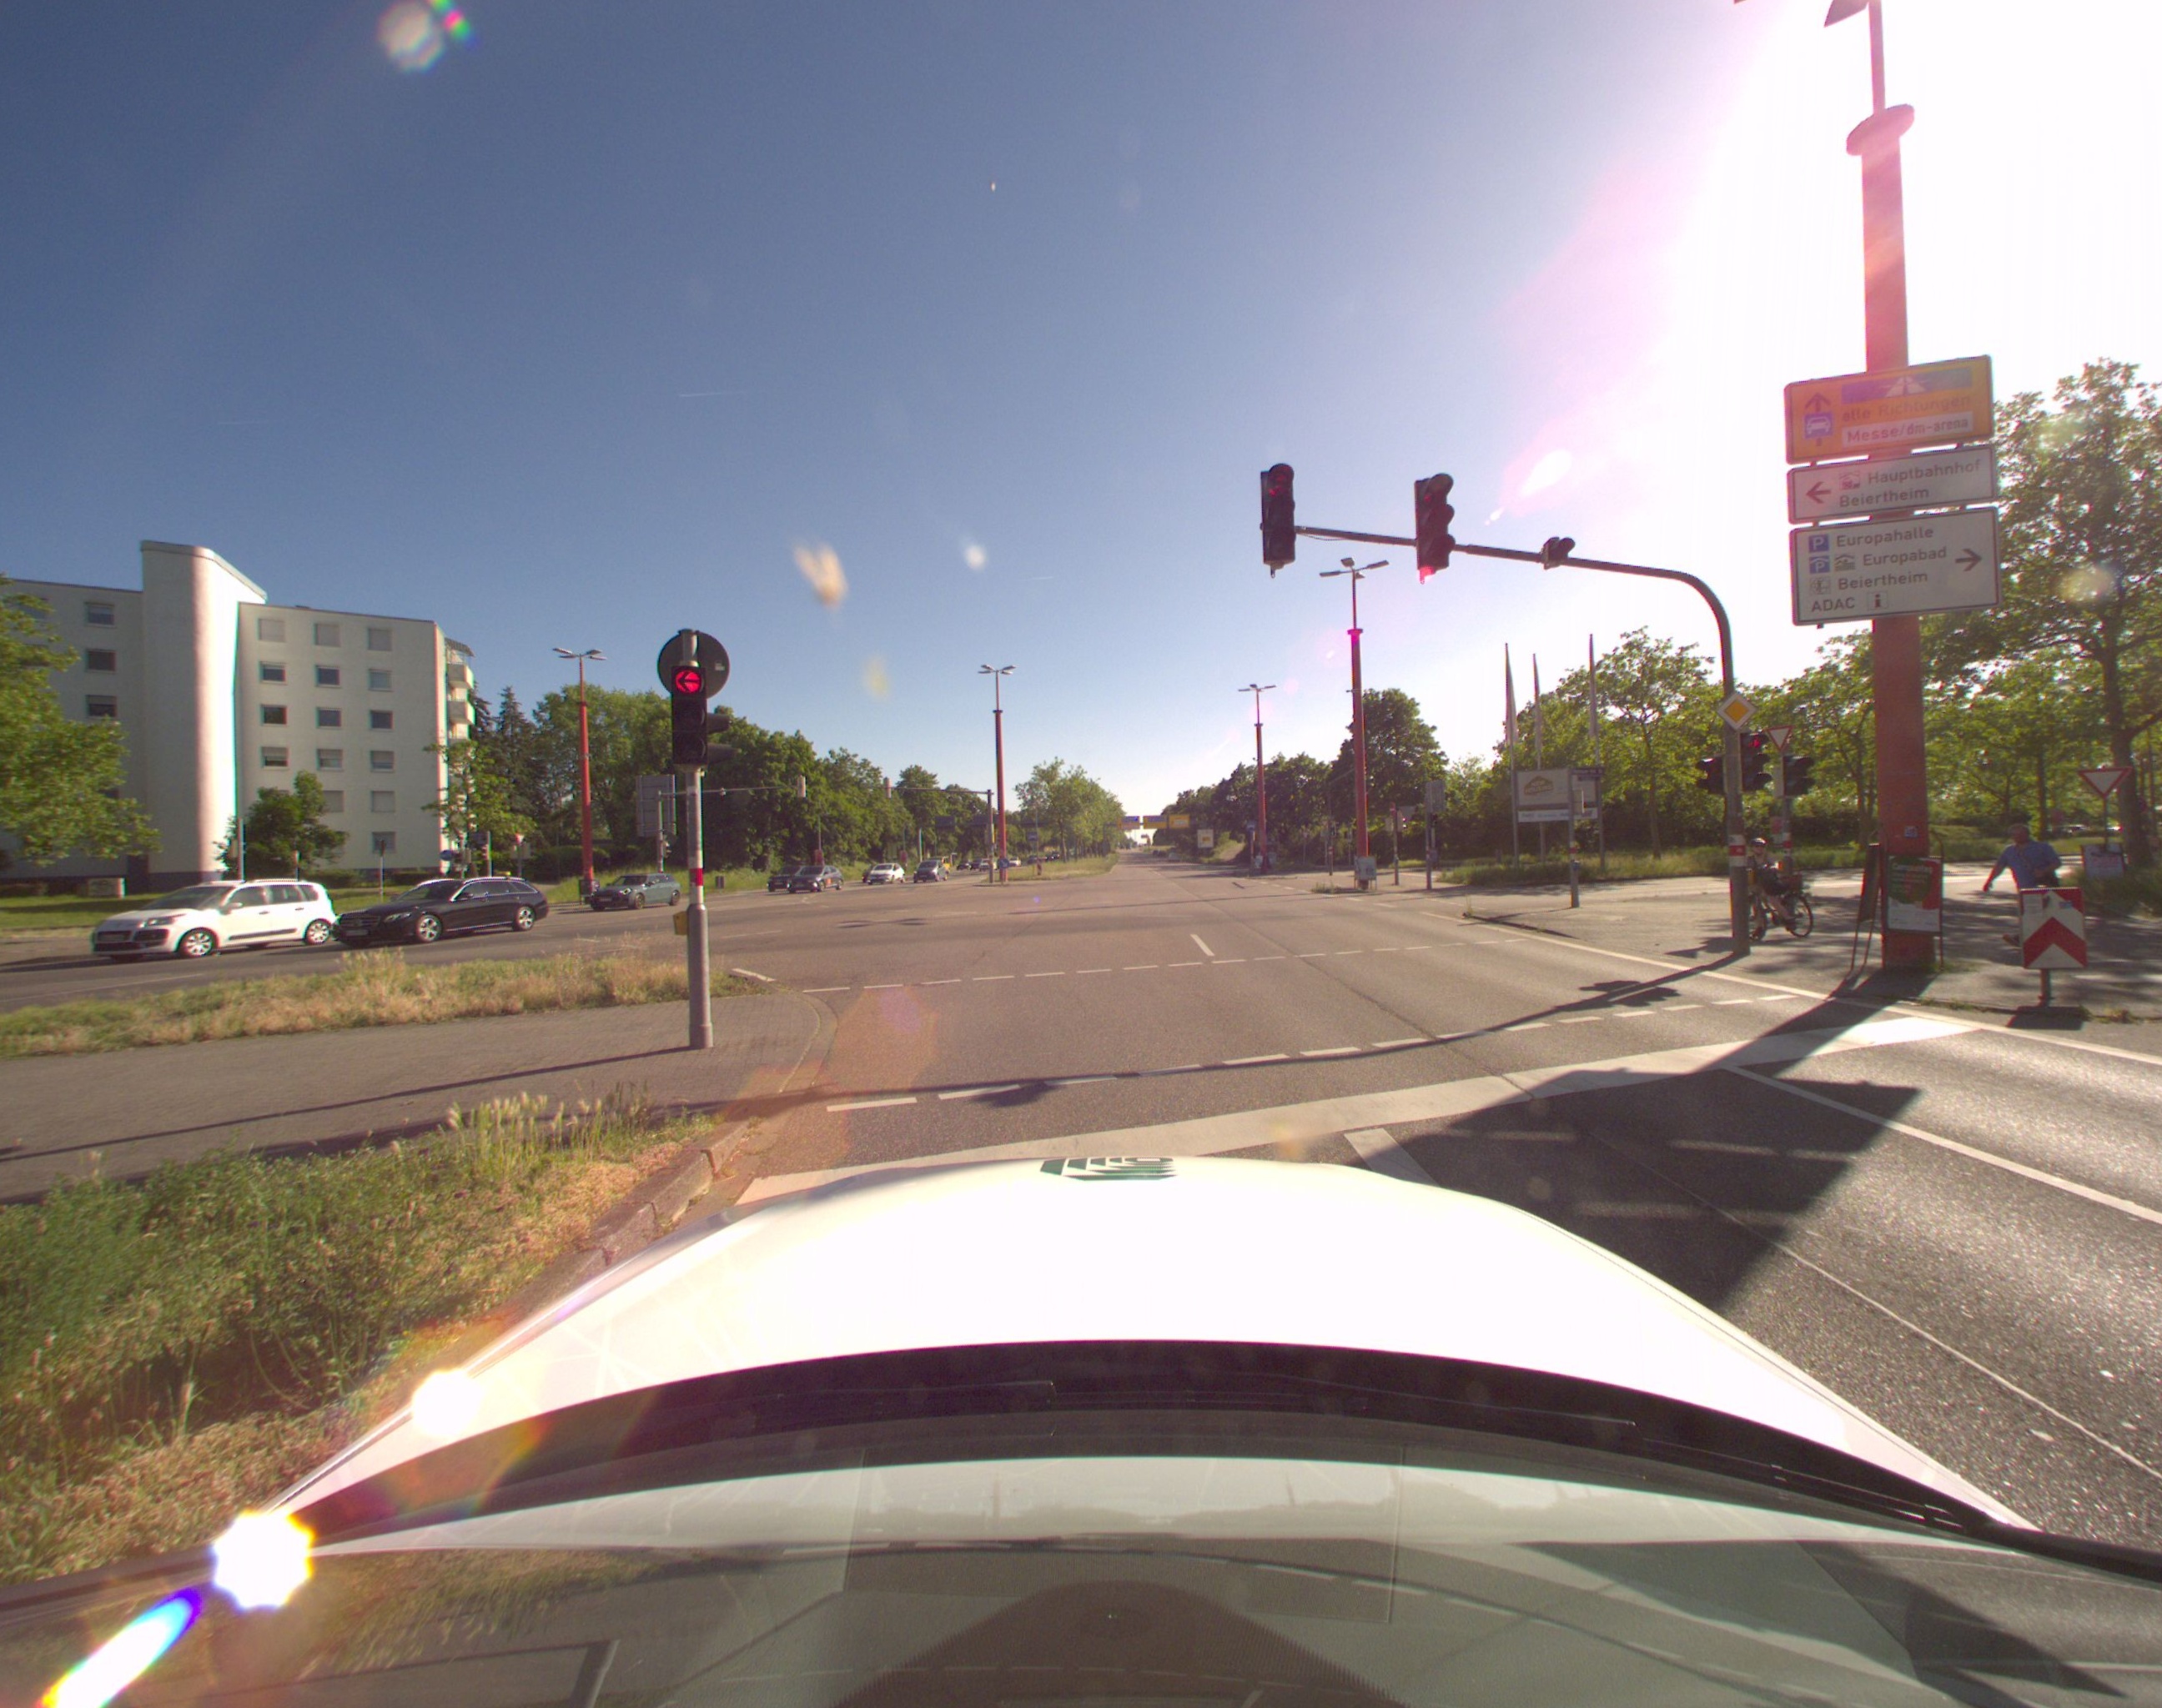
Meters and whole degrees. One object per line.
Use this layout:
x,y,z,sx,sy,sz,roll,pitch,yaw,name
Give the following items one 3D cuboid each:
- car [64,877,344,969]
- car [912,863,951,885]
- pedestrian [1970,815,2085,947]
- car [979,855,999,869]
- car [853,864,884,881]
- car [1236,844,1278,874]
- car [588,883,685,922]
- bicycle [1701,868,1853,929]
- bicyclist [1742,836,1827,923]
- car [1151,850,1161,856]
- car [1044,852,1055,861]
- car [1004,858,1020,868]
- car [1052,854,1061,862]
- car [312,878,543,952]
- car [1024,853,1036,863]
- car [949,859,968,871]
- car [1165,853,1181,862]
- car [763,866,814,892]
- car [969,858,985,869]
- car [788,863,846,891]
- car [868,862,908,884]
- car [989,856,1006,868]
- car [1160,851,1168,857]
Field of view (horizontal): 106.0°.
-19.614,1.452,18.523,1.793,1.707,4.063,-2,-1,3,car
-10.303,1.356,56.241,1.693,1.421,4.003,1,-1,3,car
13.476,0.354,11.607,0.896,1.788,0.892,-1,0,-28,pedestrian
-10.906,0.937,96.962,1.696,1.596,4.004,-1,-1,4,car
-17.029,1.453,65.312,1.448,1.273,3.614,-1,-1,2,car
11.651,0.289,53.753,1.976,1.887,4.021,-2,0,22,car
-18.046,1.940,33.274,1.424,1.388,4.144,-1,-1,4,car
11.214,0.695,13.130,2.160,0.878,0.558,-2,0,-8,bicycle
11.356,0.401,13.170,0.739,1.341,0.705,-2,0,-9,bicyclist
19.938,-0.264,217.183,1.990,1.496,3.994,-2,0,-4,car
-6.087,0.532,158.988,1.649,1.747,4.005,-1,-1,4,car
-10.266,1.310,121.018,1.997,1.308,4.000,-2,0,0,car
-5.519,0.875,180.648,1.600,1.730,3.793,-1,-1,4,car
-15.767,1.391,20.046,1.869,1.485,4.607,-1,-1,2,car
-8.861,0.659,142.388,1.618,1.739,4.004,-2,0,4,car
-17.973,1.610,119.531,1.986,1.638,4.001,-1,-1,2,car
15.141,0.561,134.535,2.048,1.371,4.391,-2,0,0,car
-18.180,1.536,50.820,1.537,1.433,3.889,-3,-1,3,car
-14.199,1.245,111.624,1.622,1.450,3.437,-1,-1,3,car
-14.377,1.207,44.568,1.542,1.377,4.265,-2,0,3,car
-13.458,1.299,56.938,1.598,1.459,3.954,-2,0,4,car
-11.153,1.101,109.091,1.696,1.558,3.807,-1,-1,4,car
19.553,0.012,192.916,1.730,1.341,3.084,-2,0,3,car
